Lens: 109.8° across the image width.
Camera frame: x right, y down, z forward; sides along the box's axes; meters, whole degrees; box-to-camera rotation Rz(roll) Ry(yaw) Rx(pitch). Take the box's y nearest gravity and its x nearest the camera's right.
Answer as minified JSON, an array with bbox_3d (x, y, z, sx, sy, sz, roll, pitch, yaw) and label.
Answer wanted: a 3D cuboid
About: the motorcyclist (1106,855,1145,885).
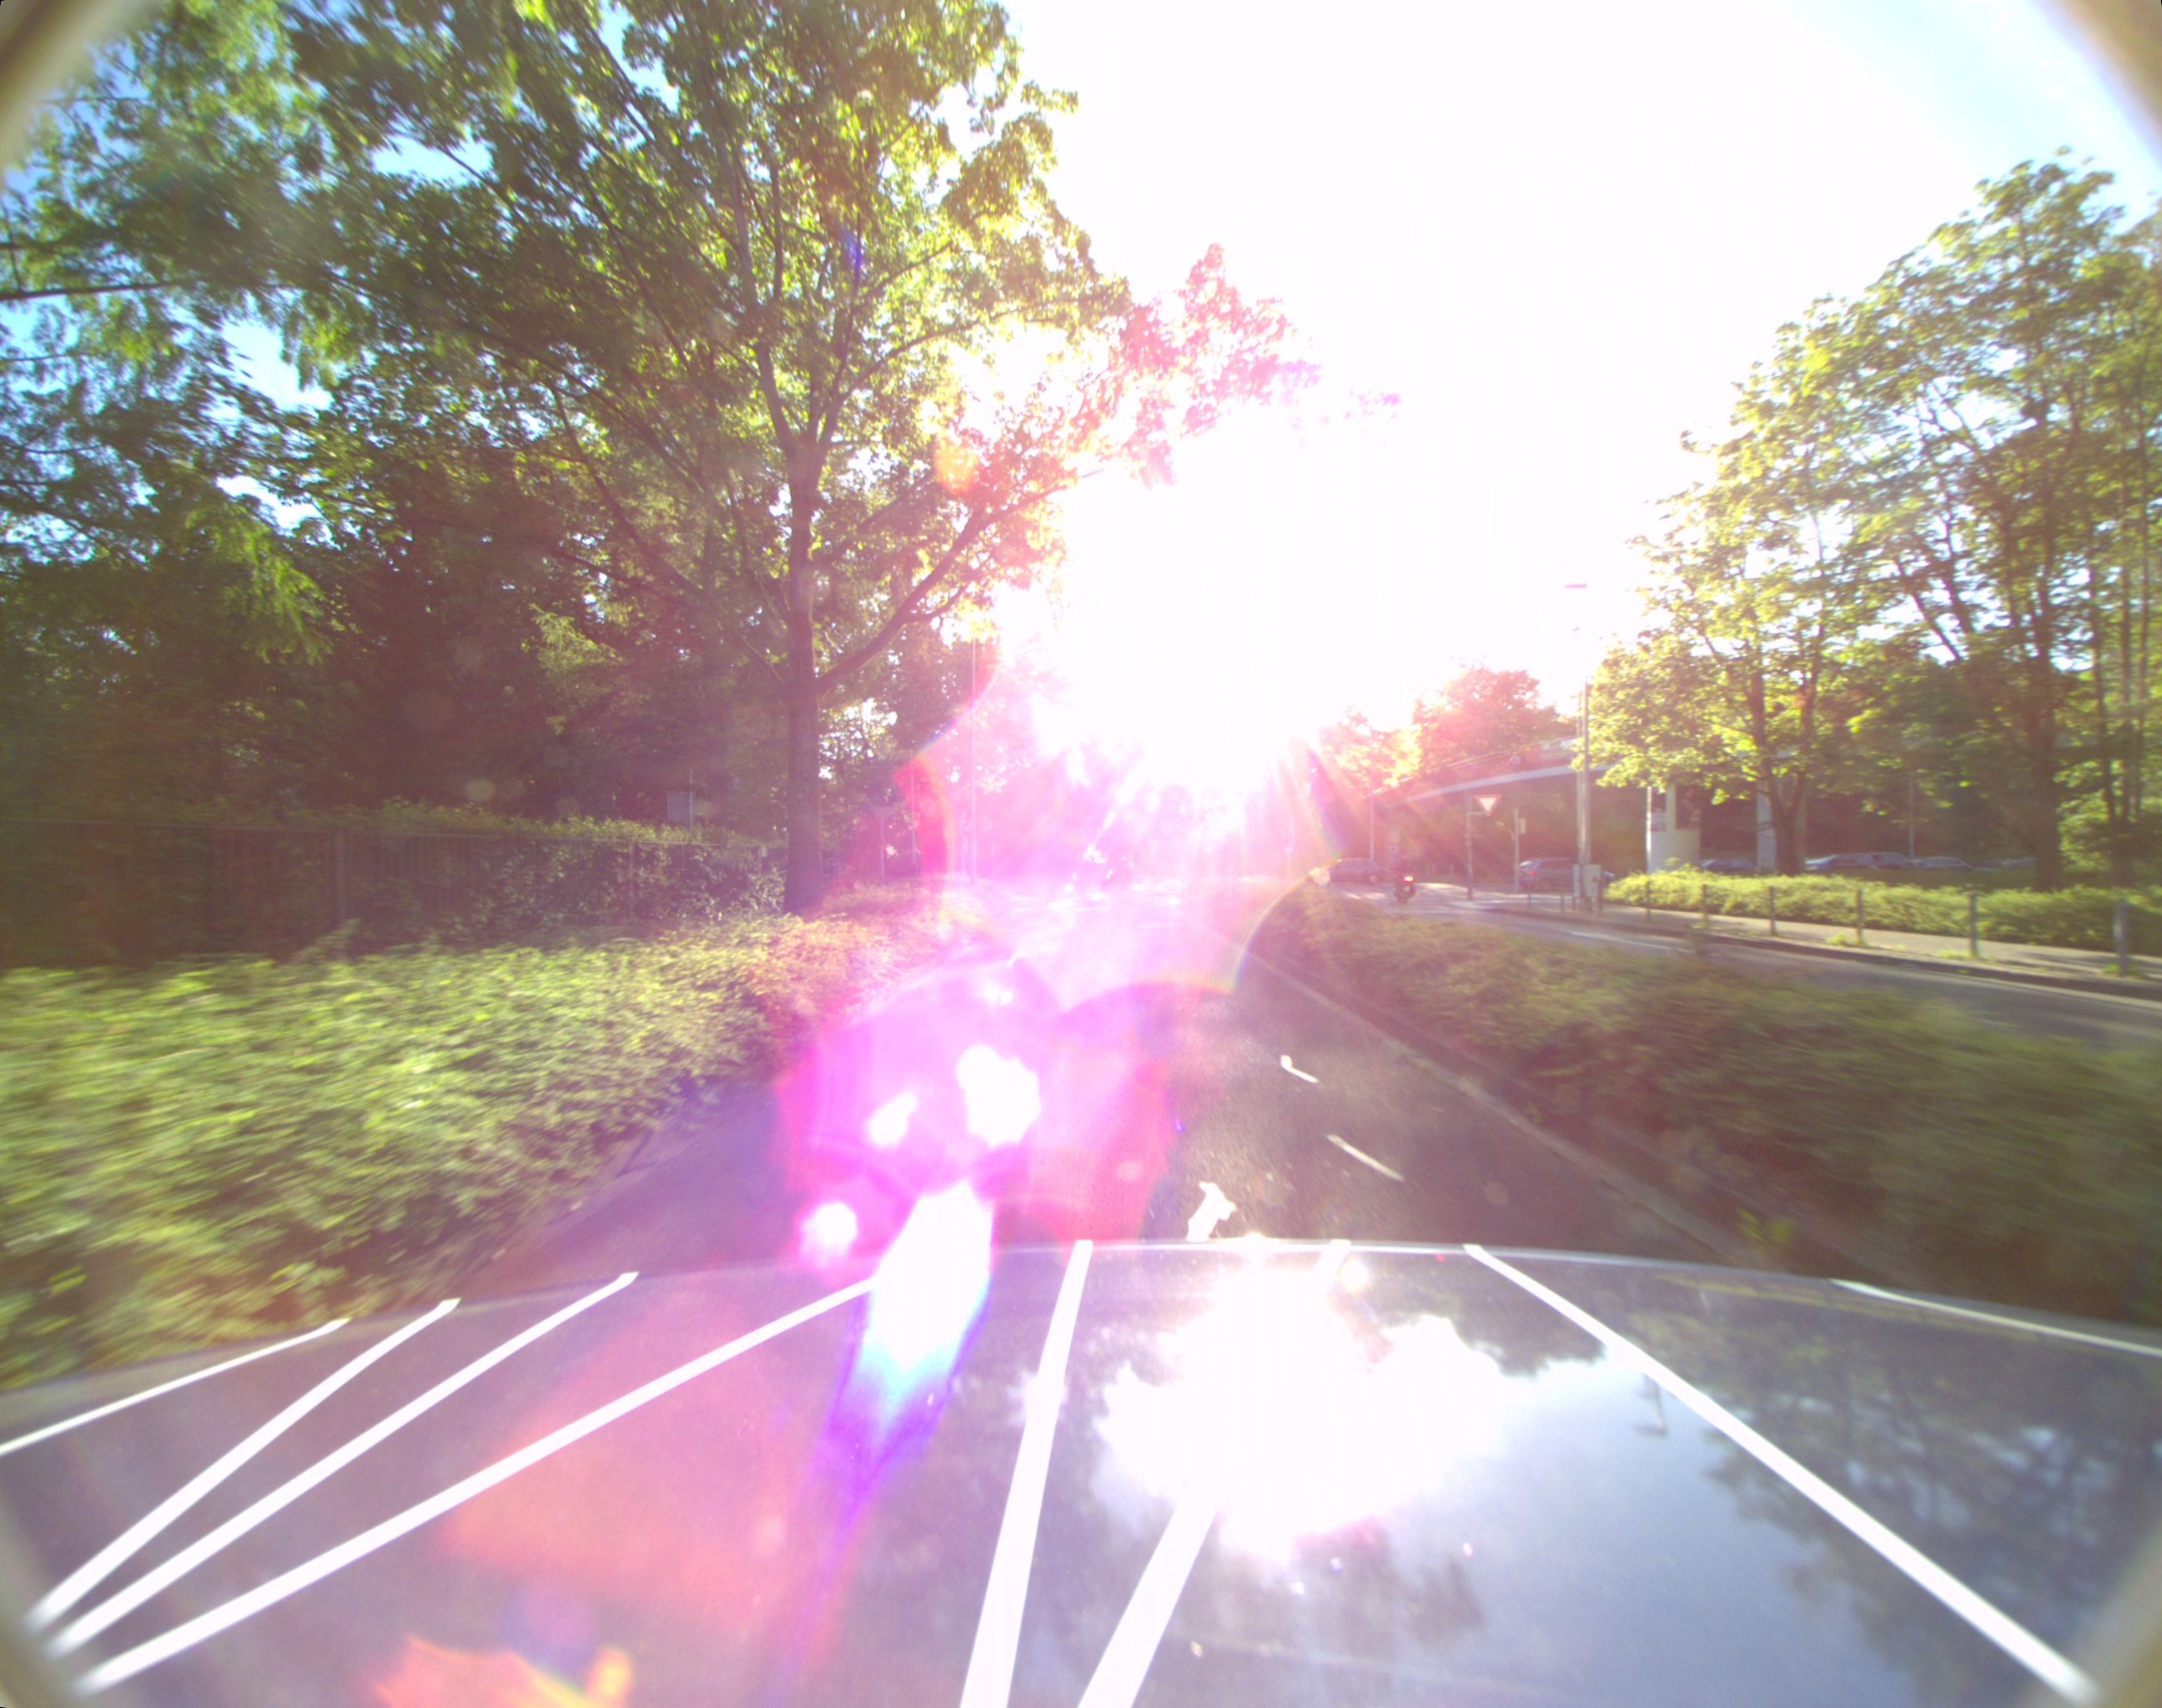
[{"bbox_3d":[2.223,0.814,38.146,1.568,1.419,1.136,-2,0,-23],"label":"motorcyclist"}]

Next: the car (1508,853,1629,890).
[{"bbox_3d":[22.177,0.771,34.656,4.315,1.571,1.812,0,2,2],"label":"car"}]

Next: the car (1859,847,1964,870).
[{"bbox_3d":[46.693,0.229,42.768,3.997,1.237,1.737,0,0,1],"label":"car"}]

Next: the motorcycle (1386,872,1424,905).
[{"bbox_3d":[11.531,1.217,27.127,0.524,1.062,2.288,0,0,4],"label":"motorcycle"}]

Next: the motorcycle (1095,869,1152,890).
[{"bbox_3d":[2.132,1.246,38.139,2.715,0.907,0.806,-2,0,-23],"label":"motorcycle"}]

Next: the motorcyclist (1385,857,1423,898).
[{"bbox_3d":[11.587,0.828,27.280,0.950,1.462,1.070,-1,0,3],"label":"motorcyclist"}]

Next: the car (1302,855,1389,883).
[{"bbox_3d":[13.954,0.783,40.277,3.996,1.381,1.869,0,1,1],"label":"car"}]

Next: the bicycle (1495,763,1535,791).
[{"bbox_3d":[24.995,-4.413,43.772,1.051,1.365,2.448,-1,1,4],"label":"bicycle"}]
